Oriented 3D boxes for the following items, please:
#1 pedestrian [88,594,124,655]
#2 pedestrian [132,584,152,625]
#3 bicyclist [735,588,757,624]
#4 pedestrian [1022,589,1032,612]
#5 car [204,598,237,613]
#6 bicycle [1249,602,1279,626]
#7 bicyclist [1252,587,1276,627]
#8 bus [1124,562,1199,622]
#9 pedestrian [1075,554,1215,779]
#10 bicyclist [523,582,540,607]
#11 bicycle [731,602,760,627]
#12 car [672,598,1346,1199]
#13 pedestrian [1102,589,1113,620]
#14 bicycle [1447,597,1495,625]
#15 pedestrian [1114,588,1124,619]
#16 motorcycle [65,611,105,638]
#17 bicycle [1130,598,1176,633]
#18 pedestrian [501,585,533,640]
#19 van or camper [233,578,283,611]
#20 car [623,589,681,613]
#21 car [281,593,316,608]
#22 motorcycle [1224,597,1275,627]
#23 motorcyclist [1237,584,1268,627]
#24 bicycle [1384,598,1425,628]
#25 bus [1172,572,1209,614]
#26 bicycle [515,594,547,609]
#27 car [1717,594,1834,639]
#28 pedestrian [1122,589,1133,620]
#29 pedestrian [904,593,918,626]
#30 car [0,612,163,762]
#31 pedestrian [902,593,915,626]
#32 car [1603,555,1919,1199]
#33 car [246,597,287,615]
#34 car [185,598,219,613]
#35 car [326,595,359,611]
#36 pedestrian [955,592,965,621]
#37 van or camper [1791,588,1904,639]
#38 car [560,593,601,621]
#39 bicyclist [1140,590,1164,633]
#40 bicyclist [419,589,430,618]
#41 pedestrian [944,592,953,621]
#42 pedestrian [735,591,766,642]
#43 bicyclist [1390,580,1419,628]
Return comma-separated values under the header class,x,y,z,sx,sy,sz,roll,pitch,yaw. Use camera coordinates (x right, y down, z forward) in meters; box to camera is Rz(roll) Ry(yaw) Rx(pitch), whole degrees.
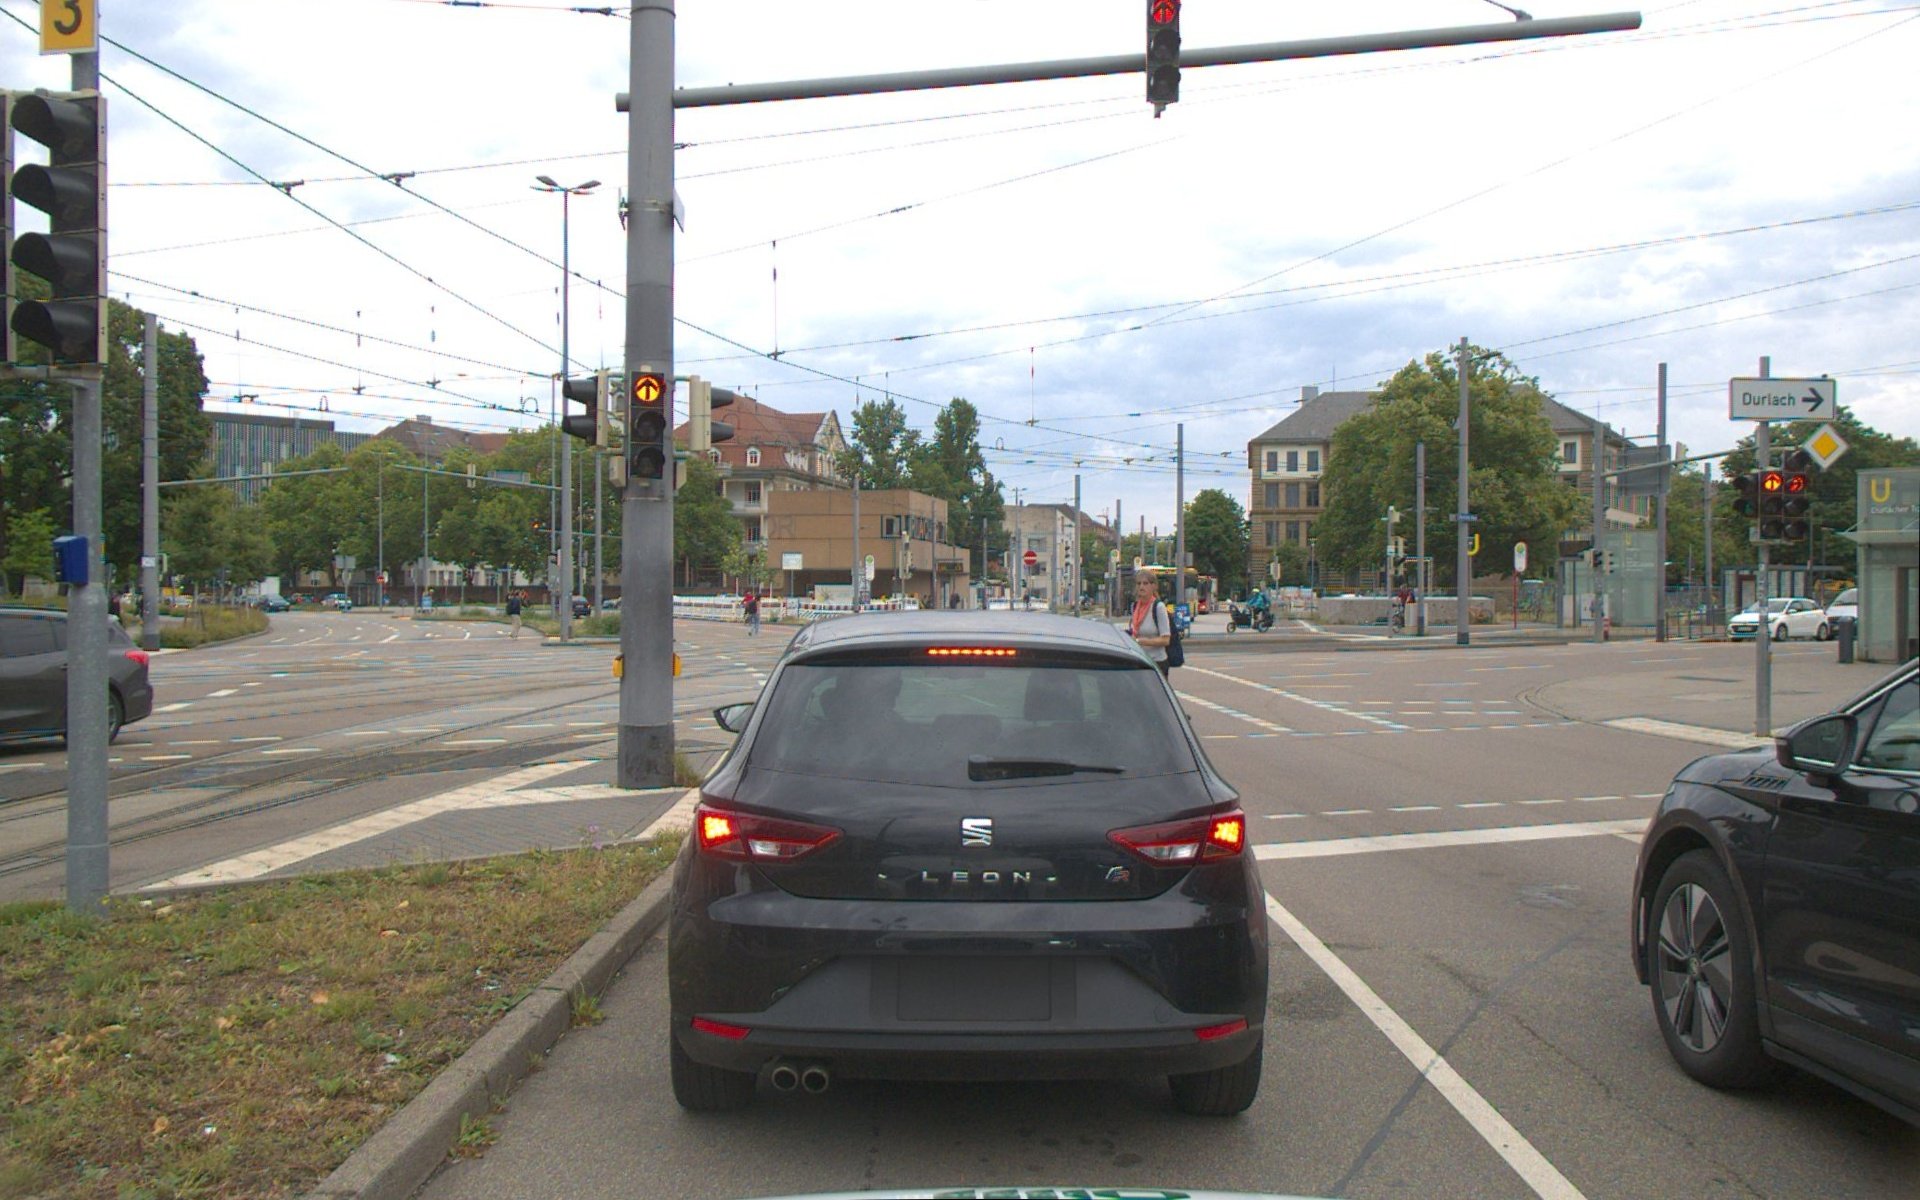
class,x,y,z,sx,sy,sz,roll,pitch,yaw
pedestrian,-29.271,0.831,56.715,1.006,2.049,0.841,0,0,-20
pedestrian,-40.419,0.245,81.742,0.787,2.016,0.870,1,-2,-35
bicyclist,-10.530,0.272,81.428,0.870,1.762,0.888,0,0,-22
pedestrian,5.821,0.071,142.869,0.609,1.952,0.710,-1,-1,25
car,-75.376,0.555,168.543,3.932,1.489,1.770,1,1,44
bicycle,14.570,0.679,79.384,0.849,1.124,2.299,0,0,-5
bicyclist,14.568,0.326,79.274,0.854,1.884,1.046,0,0,-6
bus,11.549,-0.457,93.635,2.897,3.178,11.548,0,0,14
pedestrian,1.673,0.580,14.941,1.096,1.940,0.724,1,-1,-44
bicyclist,-34.561,-0.448,133.377,0.919,2.049,0.977,0,0,28
bicycle,-10.598,0.724,81.644,0.879,1.199,2.286,0,0,-22
car,-0.015,0.737,5.979,1.671,1.474,3.808,0,0,-5
pedestrian,9.299,0.282,104.164,0.608,1.951,0.699,0,0,9
bicycle,25.519,0.553,82.641,2.214,1.354,0.707,-1,-1,6
pedestrian,10.168,0.234,105.637,0.608,1.951,0.711,0,0,2
motorcycle,-36.981,1.030,69.939,0.499,1.130,1.746,0,0,12
bicycle,7.676,0.615,65.836,1.697,1.345,0.644,0,0,-7
pedestrian,-16.127,0.447,60.152,1.015,1.968,0.695,0,0,-26
van or camper,-69.266,-0.506,163.179,5.403,3.179,2.382,0,0,41
car,-22.797,0.059,122.679,3.905,1.713,2.000,0,-1,0
car,-65.460,0.045,163.635,3.930,1.489,1.770,1,1,43
motorcycle,11.509,0.483,65.743,2.115,1.159,0.735,0,0,-34
motorcyclist,11.644,0.224,65.818,0.969,1.678,0.741,0,-1,-34
bicycle,18.044,0.530,67.060,0.764,1.205,2.019,0,0,43
bus,19.144,-0.558,136.965,2.597,3.340,11.004,0,0,10
bicycle,-34.611,0.127,133.341,0.921,1.199,2.726,0,0,28
car,27.537,0.566,55.825,3.948,1.490,1.756,0,-1,-32
pedestrian,10.606,0.269,104.711,0.608,1.951,0.699,0,0,9
pedestrian,-2.881,0.575,97.317,0.693,1.951,0.624,0,0,7
car,-10.114,0.854,16.067,1.658,1.420,4.394,0,0,19
pedestrian,-2.998,0.560,96.519,0.693,1.951,0.624,0,0,7
car,3.271,0.704,3.771,1.741,1.625,4.508,0,0,-2
car,-59.662,0.482,142.250,3.930,1.489,1.770,0,0,43
car,-80.719,0.552,176.143,3.926,1.489,1.772,1,1,41
car,-58.362,0.289,156.252,1.764,1.489,3.945,0,1,-39
pedestrian,-0.003,0.416,110.507,0.608,1.951,0.711,0,0,2
van or camper,32.113,0.511,59.846,4.257,1.773,1.974,0,-1,-36
car,-23.957,0.457,104.384,1.966,1.713,3.973,0,-1,-22
bicyclist,7.629,0.453,65.830,0.837,1.702,0.653,0,0,-7
bicyclist,-37.589,0.240,116.136,0.505,2.049,0.586,-2,-2,42
pedestrian,-0.763,0.423,110.520,0.608,1.951,0.711,0,0,2
pedestrian,-8.175,0.620,64.495,0.687,1.968,1.026,0,0,38
bicyclist,18.024,0.173,67.040,0.764,1.931,0.990,0,0,43
